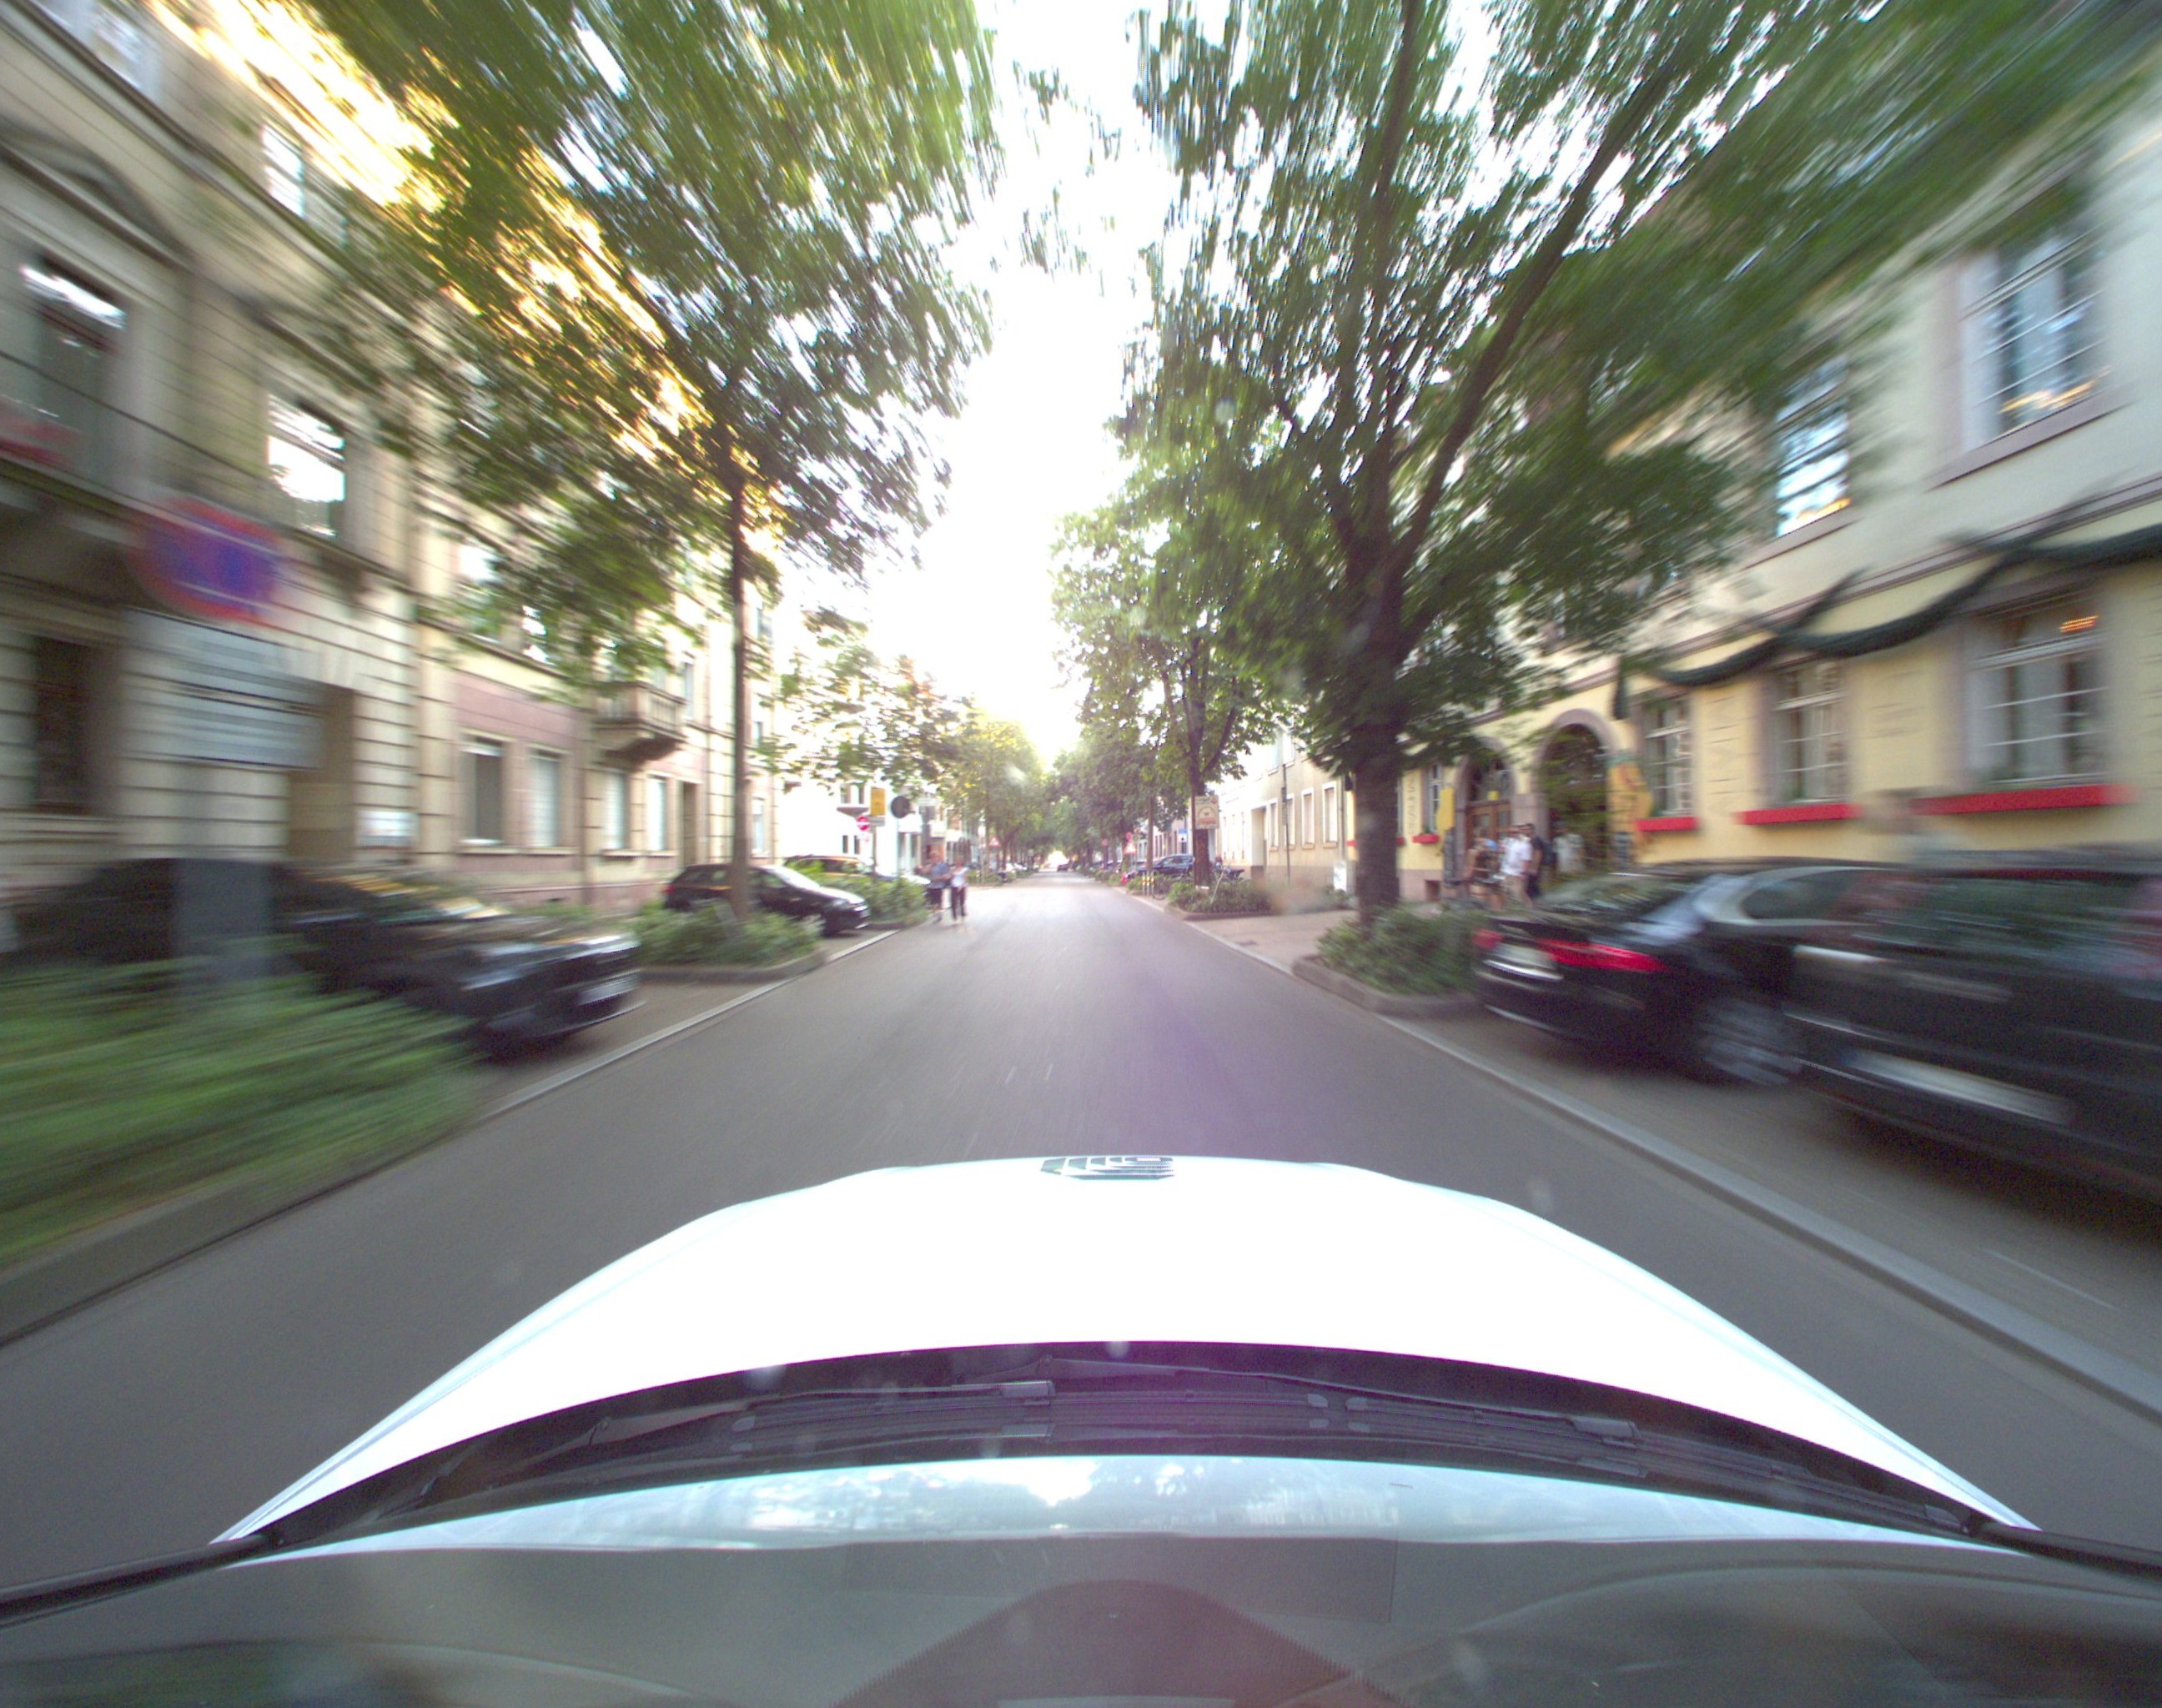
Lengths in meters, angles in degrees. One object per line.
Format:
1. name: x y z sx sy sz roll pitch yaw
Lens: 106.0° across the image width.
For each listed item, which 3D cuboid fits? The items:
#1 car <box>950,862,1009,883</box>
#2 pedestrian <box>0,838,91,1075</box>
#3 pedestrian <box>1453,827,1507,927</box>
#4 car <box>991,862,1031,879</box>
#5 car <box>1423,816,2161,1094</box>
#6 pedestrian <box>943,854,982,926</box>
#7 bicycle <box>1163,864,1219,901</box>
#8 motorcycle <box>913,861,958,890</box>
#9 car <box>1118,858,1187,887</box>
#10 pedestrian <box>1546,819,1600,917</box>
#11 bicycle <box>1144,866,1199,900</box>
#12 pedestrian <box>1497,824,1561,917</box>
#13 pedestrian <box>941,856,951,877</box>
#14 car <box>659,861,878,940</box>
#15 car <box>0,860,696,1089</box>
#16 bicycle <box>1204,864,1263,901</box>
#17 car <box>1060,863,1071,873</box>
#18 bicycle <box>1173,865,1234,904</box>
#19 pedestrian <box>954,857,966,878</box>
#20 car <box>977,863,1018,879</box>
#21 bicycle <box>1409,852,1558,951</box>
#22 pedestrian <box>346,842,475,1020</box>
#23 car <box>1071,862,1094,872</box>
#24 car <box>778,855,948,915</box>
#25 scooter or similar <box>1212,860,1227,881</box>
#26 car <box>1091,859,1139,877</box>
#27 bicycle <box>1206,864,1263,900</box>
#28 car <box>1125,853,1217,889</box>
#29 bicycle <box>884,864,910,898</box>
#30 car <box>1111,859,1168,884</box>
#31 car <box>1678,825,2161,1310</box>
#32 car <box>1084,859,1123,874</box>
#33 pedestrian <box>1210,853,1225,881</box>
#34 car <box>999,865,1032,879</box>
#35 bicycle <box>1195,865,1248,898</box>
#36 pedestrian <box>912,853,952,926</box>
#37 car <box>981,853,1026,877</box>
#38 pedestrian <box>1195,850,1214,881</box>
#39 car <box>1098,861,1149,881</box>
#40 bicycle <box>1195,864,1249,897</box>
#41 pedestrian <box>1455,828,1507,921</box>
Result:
1. car: -7.288 1.329 58.764 4.118 1.486 1.927 0 -1 -3
2. pedestrian: -8.272 0.754 6.147 0.666 1.739 0.737 0 -1 1
3. pedestrian: 7.173 0.396 14.680 0.706 1.739 0.751 -3 0 18
4. car: -8.592 2.022 100.366 4.670 1.854 1.961 -3 -1 -2
5. car: 5.171 0.617 6.091 4.392 1.394 1.883 -4 -1 -4
6. pedestrian: -2.865 0.851 19.737 0.792 1.670 0.831 -2 -1 -2
7. bicycle: 3.822 0.985 28.442 1.825 1.178 0.600 -2 -1 -3
8. motorcycle: -7.690 1.114 42.958 2.216 1.481 0.853 0 0 -21
9. car: 3.898 1.002 44.706 3.477 1.452 1.897 -2 0 -4
10. pedestrian: 9.059 0.255 15.024 0.718 1.739 0.749 -3 0 25
11. bicycle: 3.304 1.039 29.736 1.839 1.135 0.742 -2 0 -12
12. pedestrian: 8.773 0.314 15.967 0.778 1.739 0.680 -3 0 -18
13. pedestrian: -11.256 1.008 67.754 0.701 1.728 0.904 -1 -1 -2
14. car: -6.163 0.903 16.429 3.683 1.458 1.871 1 0 -3
15. car: -5.530 0.825 6.542 3.936 1.532 1.905 0 -1 -3
16. bicycle: 5.101 0.950 27.201 1.793 1.128 0.662 -2 0 -8
17. car: -2.777 2.494 144.384 1.951 1.565 4.279 -3 -1 -2
18. bicycle: 3.927 0.969 26.242 1.825 1.178 0.672 -2 -1 -3
19. pedestrian: -10.330 1.119 69.385 0.697 1.757 0.743 -1 -1 22
20. car: -8.159 1.634 79.680 3.858 1.486 1.756 0 -1 -1
21. bicycle: 5.694 0.649 11.540 1.795 1.233 0.670 -4 -1 -12
22. pedestrian: -6.834 0.750 8.330 0.731 1.739 0.672 0 -1 4
23. car: 0.282 2.444 151.260 4.257 1.565 1.961 -3 -1 -2
24. car: -6.273 0.876 23.812 4.413 1.651 1.872 1 0 -1
25. scooter or similar: 7.647 0.897 45.036 0.653 1.153 0.831 -2 -1 -1
26. car: 3.302 1.347 79.946 4.703 1.710 1.949 -1 0 -1
27. bicycle: 5.266 0.943 28.026 1.795 1.143 0.649 -2 -1 -11
28. car: 4.541 0.836 41.434 4.412 1.656 1.899 -2 -1 -1
29. bicycle: -6.063 0.896 26.863 0.521 1.059 1.859 2 -2 -4
30. car: 3.782 1.134 53.223 3.477 1.452 1.897 -2 0 -4
31. car: 5.360 0.610 3.639 3.979 1.437 1.924 -4 -1 -4
32. car: 2.653 1.505 95.292 4.492 1.521 1.996 -3 -1 1
33. pedestrian: 7.631 0.709 45.524 0.653 1.536 0.831 -2 -1 -1
34. car: -8.685 2.376 108.080 4.192 1.635 1.961 -3 -1 -2
35. bicycle: 5.054 0.978 29.388 1.793 1.107 0.499 -2 -1 -8
36. pedestrian: -3.661 0.868 20.114 0.792 1.737 0.831 -2 -1 -2
37. car: -8.371 1.216 87.946 4.670 2.478 1.998 -1 -1 -2
38. pedestrian: 6.889 0.646 45.489 0.694 1.737 0.667 -1 -1 -33
39. car: 3.434 1.344 66.057 3.870 1.440 1.844 -2 0 -5
40. bicycle: 5.209 0.959 30.080 1.795 1.143 0.666 -2 -1 -11
41. pedestrian: 7.702 0.384 15.692 0.613 1.739 0.623 -3 0 -2
